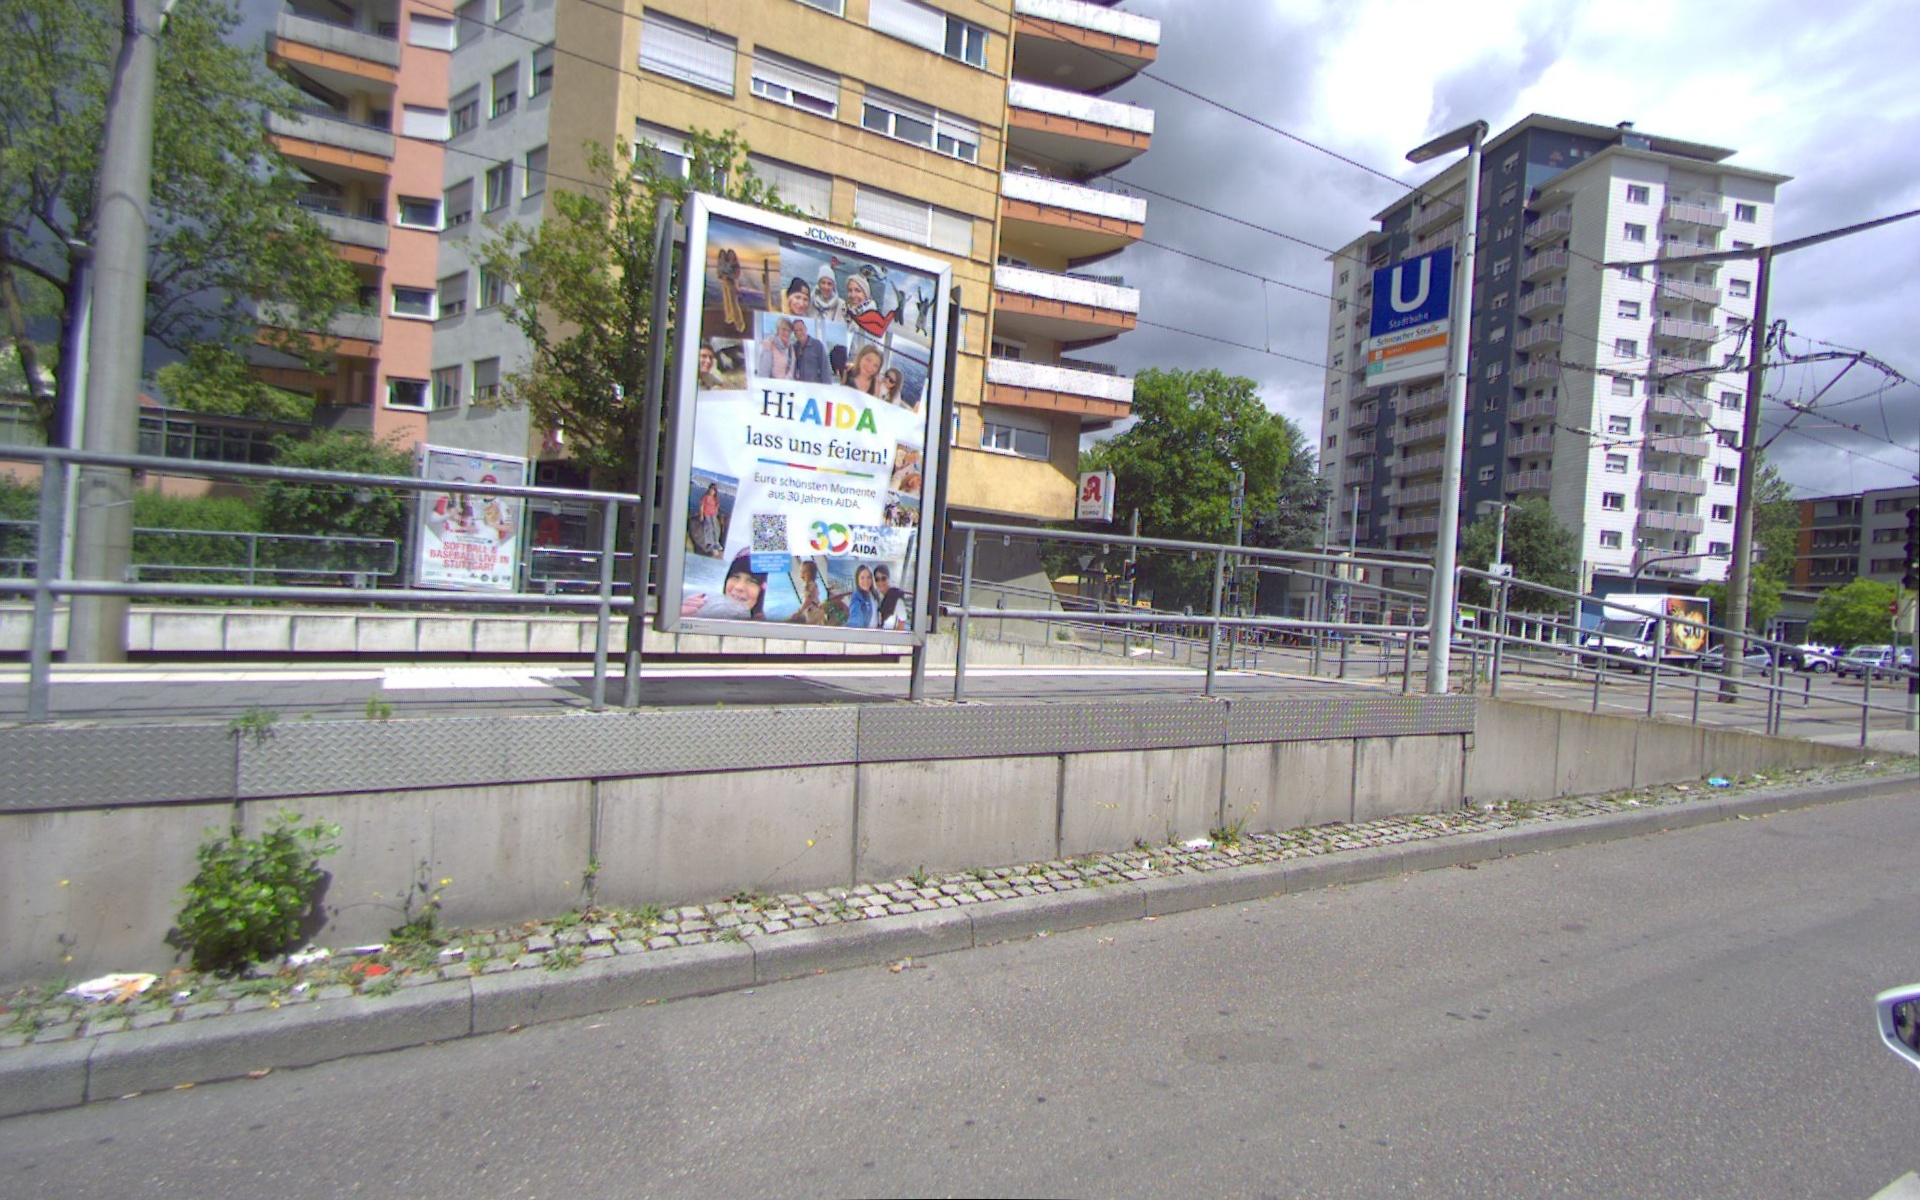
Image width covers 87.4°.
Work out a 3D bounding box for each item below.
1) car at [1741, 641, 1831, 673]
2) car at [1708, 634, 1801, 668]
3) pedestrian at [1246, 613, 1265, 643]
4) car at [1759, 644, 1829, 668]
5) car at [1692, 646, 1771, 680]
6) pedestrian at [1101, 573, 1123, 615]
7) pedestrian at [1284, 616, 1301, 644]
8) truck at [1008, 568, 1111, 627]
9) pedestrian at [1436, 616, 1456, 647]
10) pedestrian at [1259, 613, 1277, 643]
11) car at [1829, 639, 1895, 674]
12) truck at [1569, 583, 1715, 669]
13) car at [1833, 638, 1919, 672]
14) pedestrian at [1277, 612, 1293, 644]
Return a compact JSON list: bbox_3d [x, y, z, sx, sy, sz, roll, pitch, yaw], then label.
[{"bbox_3d":[50.198,3.463,61.141,3.845,1.669,1.657,2,0,15],"label":"car"},{"bbox_3d":[45.935,2.918,58.156,3.927,1.709,1.574,2,0,28],"label":"car"},{"bbox_3d":[14.809,1.421,50.363,0.658,1.487,0.554,2,0,-37],"label":"pedestrian"},{"bbox_3d":[52.555,3.540,63.379,3.047,1.298,1.469,2,0,23],"label":"car"},{"bbox_3d":[36.055,2.946,46.946,3.726,1.480,1.402,2,0,-27],"label":"car"},{"bbox_3d":[6.749,-0.261,44.559,0.654,1.799,0.653,2,0,-28],"label":"pedestrian"},{"bbox_3d":[17.473,1.584,52.770,0.657,1.435,0.554,2,0,-36],"label":"pedestrian"},{"bbox_3d":[4.177,-0.148,42.793,2.322,2.320,4.260,2,0,-29],"label":"truck"},{"bbox_3d":[32.142,2.067,66.436,0.830,2.040,0.861,2,0,-2],"label":"pedestrian"},{"bbox_3d":[15.853,1.457,51.726,0.657,1.500,0.555,2,0,-33],"label":"pedestrian"},{"bbox_3d":[48.676,3.060,54.212,3.732,1.780,1.583,2,0,-31],"label":"car"},{"bbox_3d":[27.380,1.087,40.206,7.243,3.159,2.267,2,0,-34],"label":"truck"},{"bbox_3d":[60.368,3.586,66.243,3.846,2.001,1.657,2,0,19],"label":"car"},{"bbox_3d":[17.776,1.517,54.926,0.708,1.693,0.365,2,1,-27],"label":"pedestrian"}]
